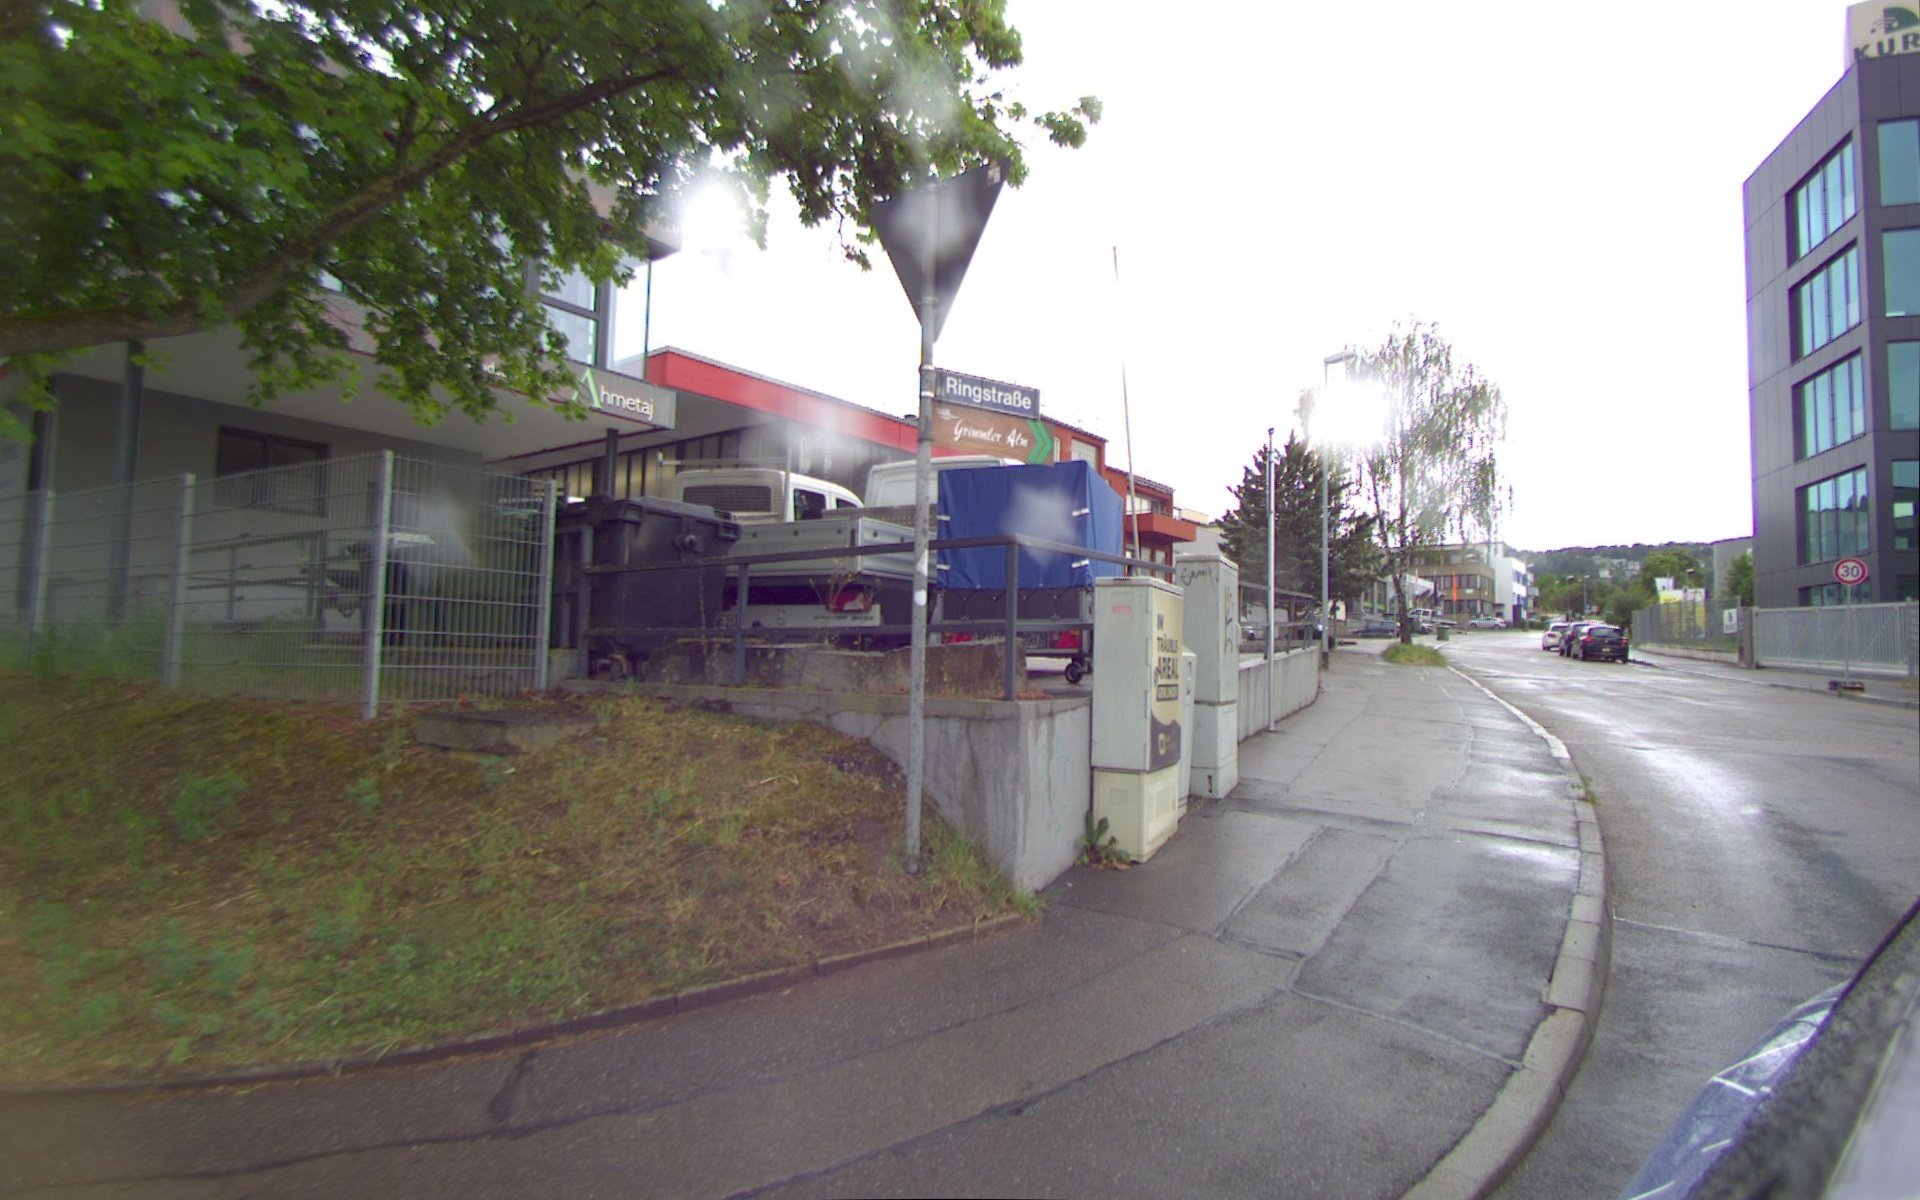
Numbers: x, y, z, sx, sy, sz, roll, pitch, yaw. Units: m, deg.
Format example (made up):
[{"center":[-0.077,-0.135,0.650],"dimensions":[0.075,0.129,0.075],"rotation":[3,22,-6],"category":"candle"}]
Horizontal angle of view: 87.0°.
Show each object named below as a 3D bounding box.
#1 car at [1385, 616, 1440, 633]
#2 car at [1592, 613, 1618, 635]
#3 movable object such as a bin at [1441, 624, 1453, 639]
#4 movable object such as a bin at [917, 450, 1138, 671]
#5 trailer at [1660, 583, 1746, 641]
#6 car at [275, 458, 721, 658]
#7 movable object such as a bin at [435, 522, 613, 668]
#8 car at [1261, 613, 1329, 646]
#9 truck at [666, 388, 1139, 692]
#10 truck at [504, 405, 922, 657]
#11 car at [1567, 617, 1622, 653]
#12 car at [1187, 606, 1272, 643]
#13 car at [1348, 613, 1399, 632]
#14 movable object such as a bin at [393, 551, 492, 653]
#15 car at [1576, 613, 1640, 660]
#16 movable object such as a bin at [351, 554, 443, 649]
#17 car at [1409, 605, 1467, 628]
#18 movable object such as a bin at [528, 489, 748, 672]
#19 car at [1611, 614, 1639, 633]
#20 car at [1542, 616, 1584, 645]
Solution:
[{"center":[43.941,2.370,98.260],"dimensions":[4.601,1.516,1.914],"rotation":[0,-1,38],"category":"car"},{"center":[61.319,2.266,96.271],"dimensions":[1.984,1.938,3.956],"rotation":[0,-1,31],"category":"car"},{"center":[36.089,2.330,75.039],"dimensions":[0.731,1.104,0.587],"rotation":[0,-1,32],"category":"movable object such as a bin"},{"center":[0.609,-0.265,8.042],"dimensions":[1.294,1.520,1.846],"rotation":[0,-1,20],"category":"movable object such as a bin"},{"center":[54.968,0.871,75.003],"dimensions":[2.339,4.141,4.708],"rotation":[1,-1,-14],"category":"trailer"},{"center":[-5.572,-0.401,12.953],"dimensions":[2.047,2.039,4.881],"rotation":[0,-1,32],"category":"car"},{"center":[-3.431,-0.033,7.978],"dimensions":[1.046,1.056,0.872],"rotation":[0,-1,36],"category":"movable object such as a bin"},{"center":[20.148,1.762,60.903],"dimensions":[3.428,1.520,1.594],"rotation":[-11,-9,40],"category":"car"},{"center":[-0.151,-0.409,10.400],"dimensions":[2.095,2.242,5.590],"rotation":[0,-1,31],"category":"truck"},{"center":[-2.642,-0.624,12.159],"dimensions":[2.230,2.372,4.787],"rotation":[0,-1,29],"category":"truck"},{"center":[29.569,1.611,47.248],"dimensions":[1.620,1.578,4.048],"rotation":[0,-1,25],"category":"car"},{"center":[12.273,1.129,45.934],"dimensions":[1.993,1.600,4.445],"rotation":[-3,-3,40],"category":"car"},{"center":[34.519,1.864,84.463],"dimensions":[3.728,1.560,1.610],"rotation":[0,-1,36],"category":"car"},{"center":[-4.386,0.019,8.588],"dimensions":[0.562,0.828,0.533],"rotation":[0,-1,34],"category":"movable object such as a bin"},{"center":[27.135,1.483,42.499],"dimensions":[1.727,1.820,3.924],"rotation":[0,-1,25],"category":"car"},{"center":[-5.030,0.017,9.057],"dimensions":[0.519,0.812,0.533],"rotation":[0,-1,34],"category":"movable object such as a bin"},{"center":[49.883,1.671,105.742],"dimensions":[5.132,2.323,2.170],"rotation":[0,-1,40],"category":"car"},{"center":[-2.298,-0.121,7.256],"dimensions":[1.134,1.177,1.014],"rotation":[0,-1,34],"category":"movable object such as a bin"},{"center":[73.838,2.594,112.388],"dimensions":[1.993,2.039,3.937],"rotation":[0,-1,43],"category":"car"},{"center":[34.001,1.716,57.184],"dimensions":[1.724,1.556,4.209],"rotation":[0,-1,27],"category":"car"}]
